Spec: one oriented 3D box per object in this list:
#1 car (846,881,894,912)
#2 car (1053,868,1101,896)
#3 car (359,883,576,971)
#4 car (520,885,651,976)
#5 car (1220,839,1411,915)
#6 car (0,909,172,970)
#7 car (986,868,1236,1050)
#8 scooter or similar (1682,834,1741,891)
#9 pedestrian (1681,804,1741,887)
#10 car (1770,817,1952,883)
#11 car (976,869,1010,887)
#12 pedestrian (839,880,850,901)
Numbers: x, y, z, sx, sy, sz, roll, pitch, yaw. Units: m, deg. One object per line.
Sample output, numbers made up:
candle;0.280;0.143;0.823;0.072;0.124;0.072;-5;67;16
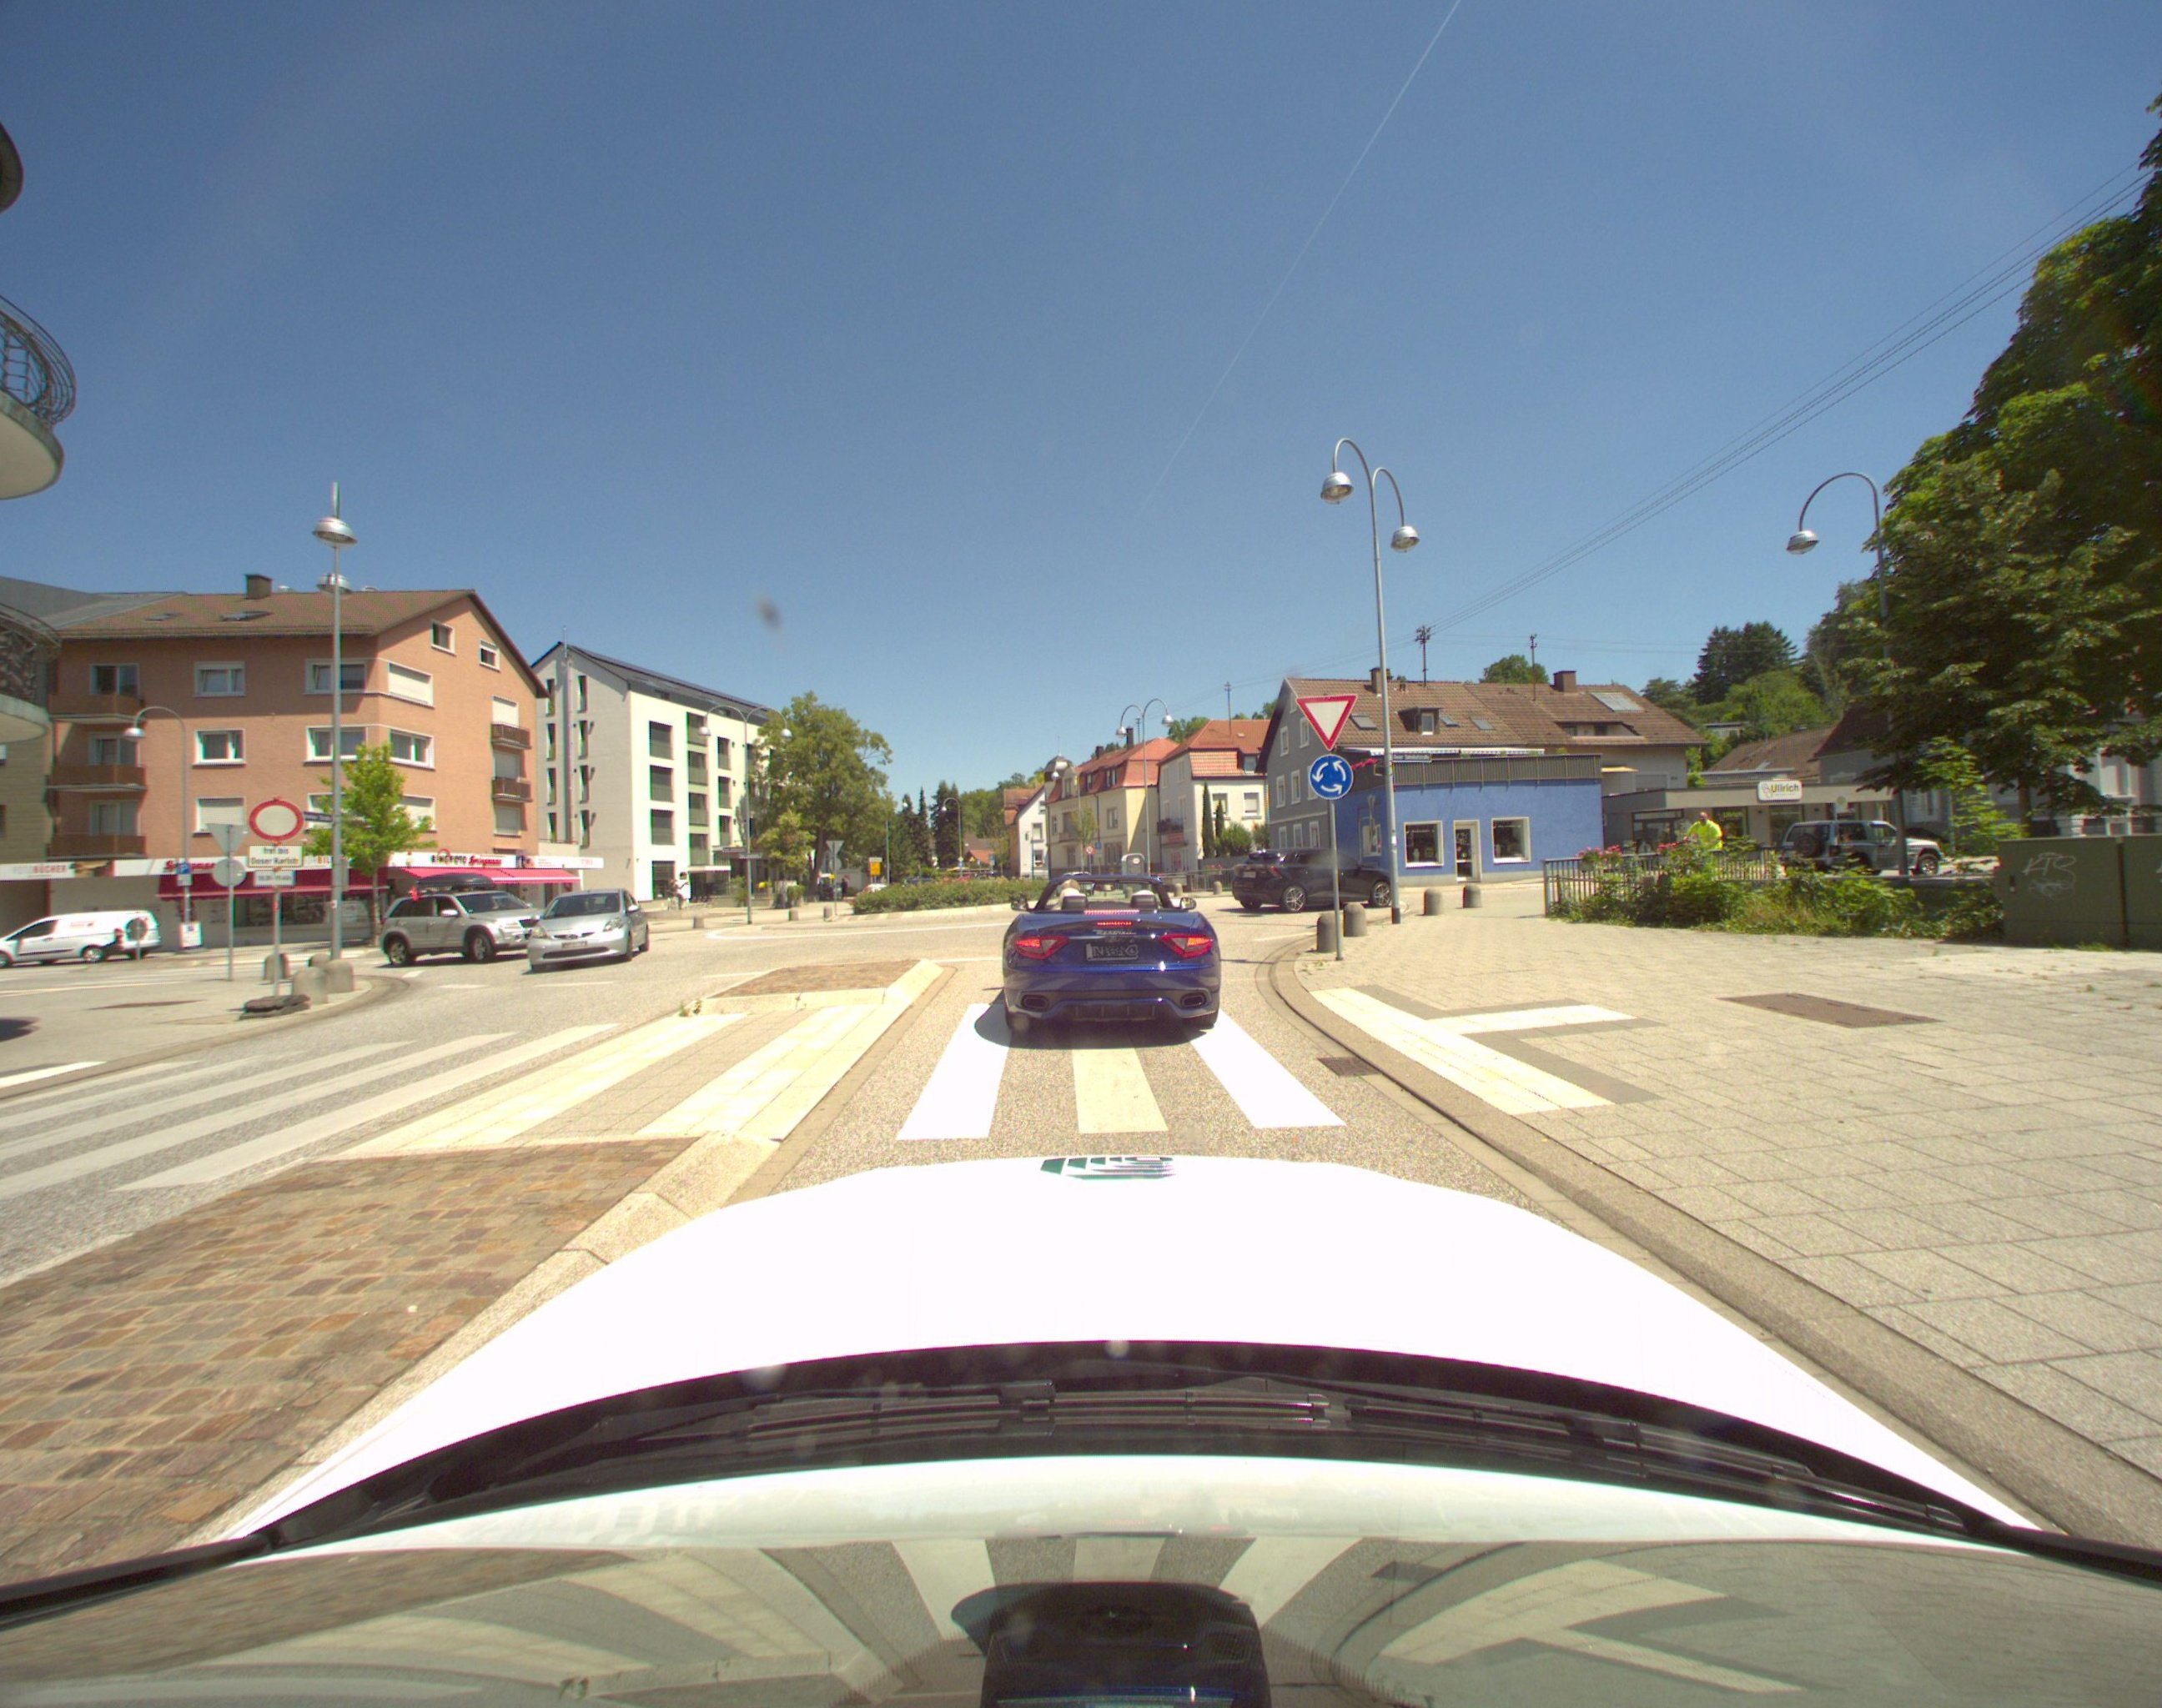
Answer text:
car;-11.718;2.319;45.416;1.991;1.509;3.991;-2;-1;-6
car;-0.308;1.855;52.915;1.924;1.613;4.121;-3;-2;-18
car;-14.452;1.706;19.236;4.156;1.688;1.846;-4;0;16
car;-9.742;1.419;16.268;1.581;1.450;3.445;-5;0;-22
car;5.747;0.513;19.971;4.266;1.547;1.798;-3;0;-22
car;-34.613;2.922;28.053;3.994;1.750;1.793;-3;-1;-15
car;0.340;0.853;8.449;1.903;1.360;4.288;-1;-1;3
scooter or similar;14.169;0.185;18.332;0.525;1.222;1.244;-3;-1;13
pedestrian;14.243;-0.186;18.413;0.739;1.799;0.676;-4;-1;-20
car;23.453;-0.105;24.561;4.216;1.875;1.757;-1;-1;-9
car;-8.666;2.346;80.175;1.861;1.588;3.962;-3;-1;-29
pedestrian;-18.637;2.857;64.218;0.531;1.576;0.564;-3;-1;12
